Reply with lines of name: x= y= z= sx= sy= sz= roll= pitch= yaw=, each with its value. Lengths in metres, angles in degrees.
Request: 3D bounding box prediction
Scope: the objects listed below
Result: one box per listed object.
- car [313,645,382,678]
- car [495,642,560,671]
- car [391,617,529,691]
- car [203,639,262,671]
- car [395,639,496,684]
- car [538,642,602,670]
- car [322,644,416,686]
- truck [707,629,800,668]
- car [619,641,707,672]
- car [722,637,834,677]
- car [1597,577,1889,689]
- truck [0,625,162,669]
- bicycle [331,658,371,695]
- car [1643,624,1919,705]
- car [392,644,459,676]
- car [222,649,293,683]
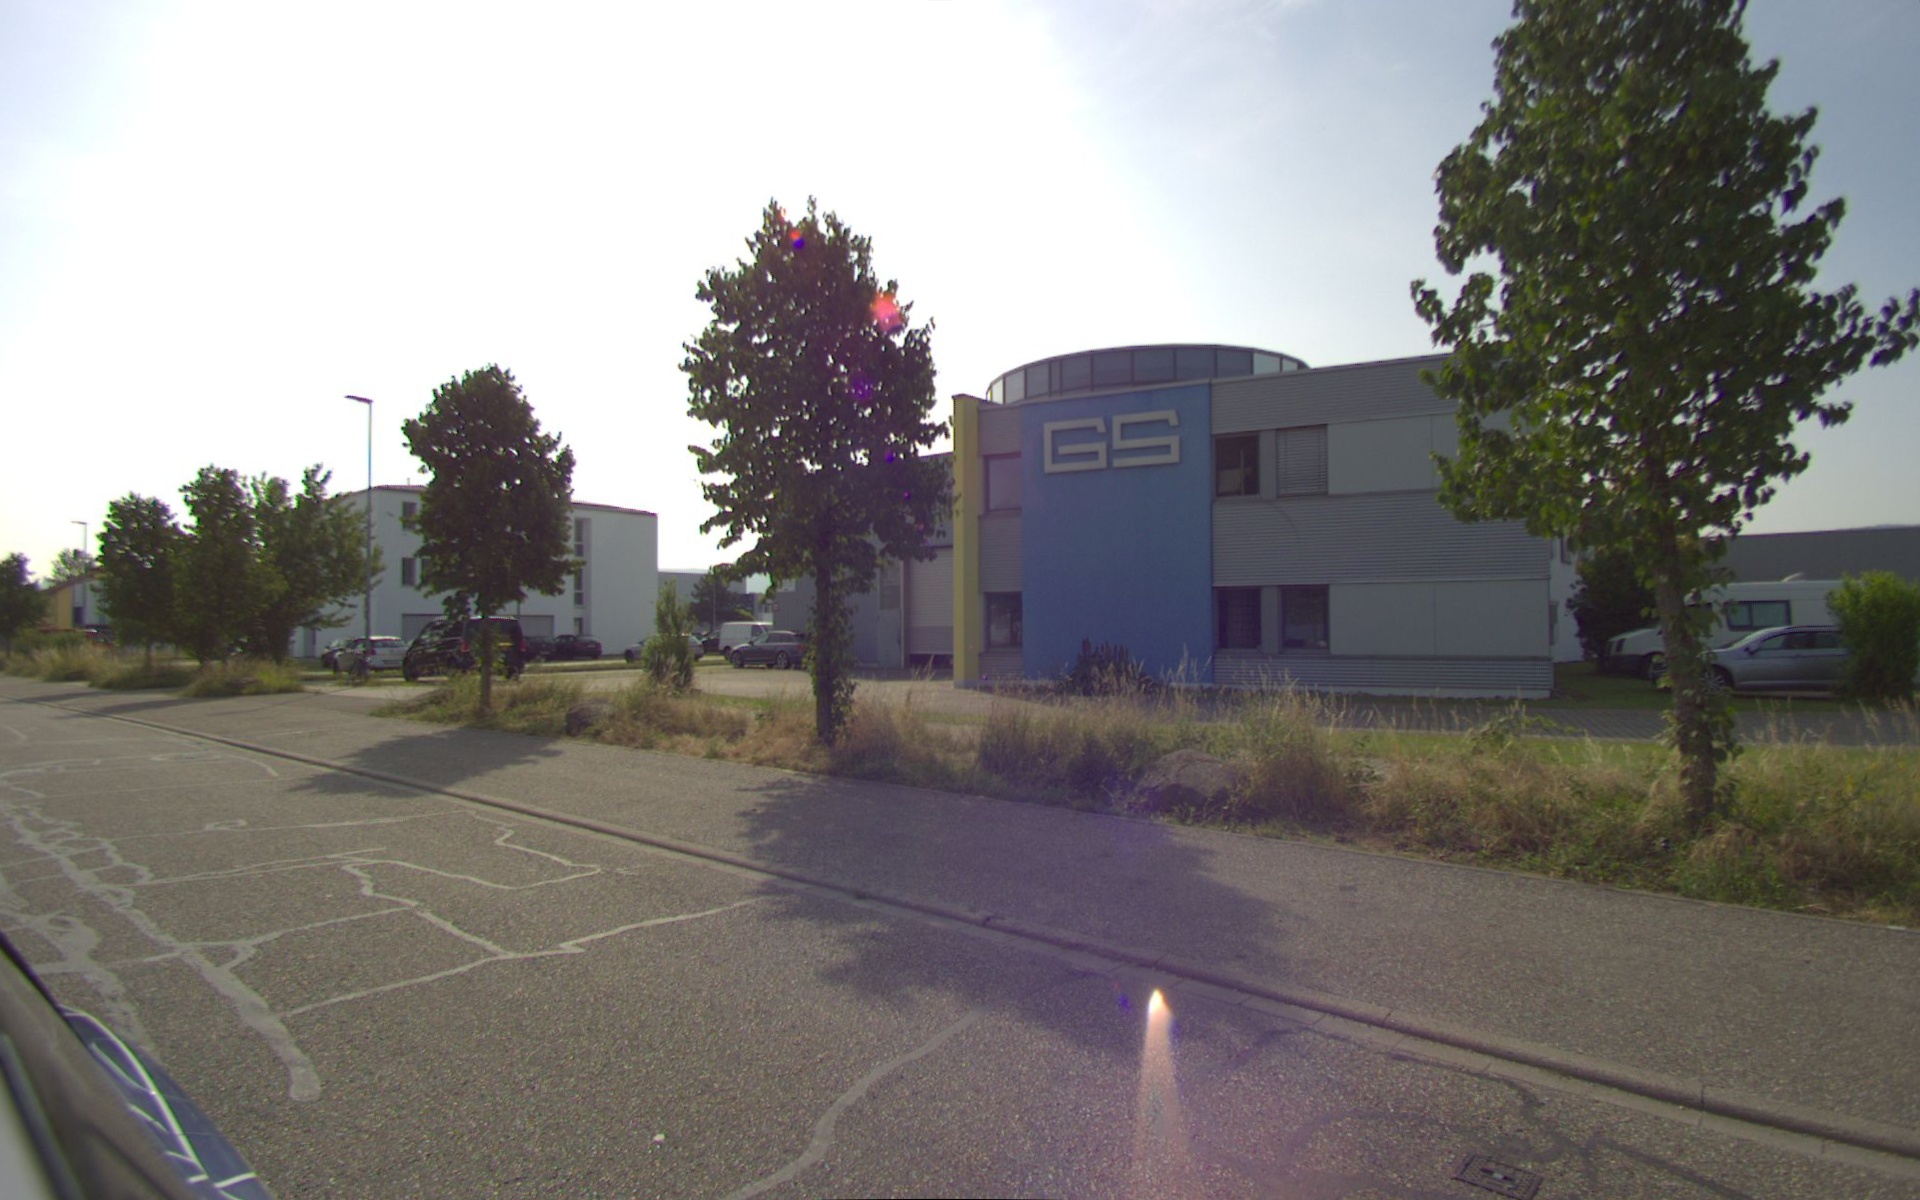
car: x=-29.239 y=2.924 z=48.253 sx=3.917 sy=1.479 sz=1.736 roll=-3 pitch=-3 yaw=42
car: x=-23.385 y=3.058 z=54.680 sx=3.917 sy=1.479 sz=1.736 roll=-3 pitch=-3 yaw=42
car: x=-14.982 y=1.613 z=30.219 sx=4.987 sy=2.029 sz=1.862 roll=-3 pitch=-4 yaw=40
car: x=-44.344 y=3.324 z=61.621 sx=4.694 sy=1.852 sz=1.972 roll=-3 pitch=-3 yaw=42
car: x=-20.167 y=2.379 z=39.575 sx=4.505 sy=1.619 sz=1.922 roll=-3 pitch=-3 yaw=40
car: x=-21.669 y=3.083 z=56.232 sx=3.917 sy=1.479 sz=1.736 roll=-3 pitch=-3 yaw=42
car: x=-22.098 y=2.411 z=37.822 sx=3.913 sy=1.460 sz=1.768 roll=-3 pitch=-3 yaw=39
truck: x=-10.701 y=2.482 z=52.199 sx=4.945 sy=1.918 sz=1.975 roll=-2 pitch=-3 yaw=38
car: x=-13.984 y=2.638 z=47.526 sx=4.375 sy=1.383 sz=1.716 roll=-2 pitch=-3 yaw=37
car: x=-7.229 y=2.250 z=39.891 sx=4.778 sy=1.472 sz=1.697 roll=-3 pitch=-3 yaw=40
car: x=20.217 y=0.860 z=26.497 sx=5.716 sy=2.715 sz=1.697 roll=-1 pitch=-2 yaw=24
truck: x=-61.548 y=3.405 z=71.207 sx=2.489 sy=2.855 sz=8.809 roll=0 pitch=-4 yaw=12
bicycle: x=-17.204 y=2.149 z=28.572 sx=1.871 sy=0.986 sz=0.534 roll=-3 pitch=-3 yaw=44
car: x=16.450 y=1.228 z=20.129 sx=4.498 sy=1.492 sz=1.566 roll=-1 pitch=-2 yaw=25
car: x=-26.894 y=2.999 z=50.854 sx=3.917 sy=1.479 sz=1.736 roll=-3 pitch=-3 yaw=42
car: x=-31.616 y=2.949 z=45.508 sx=3.917 sy=1.420 sz=1.736 roll=-3 pitch=-3 yaw=42
